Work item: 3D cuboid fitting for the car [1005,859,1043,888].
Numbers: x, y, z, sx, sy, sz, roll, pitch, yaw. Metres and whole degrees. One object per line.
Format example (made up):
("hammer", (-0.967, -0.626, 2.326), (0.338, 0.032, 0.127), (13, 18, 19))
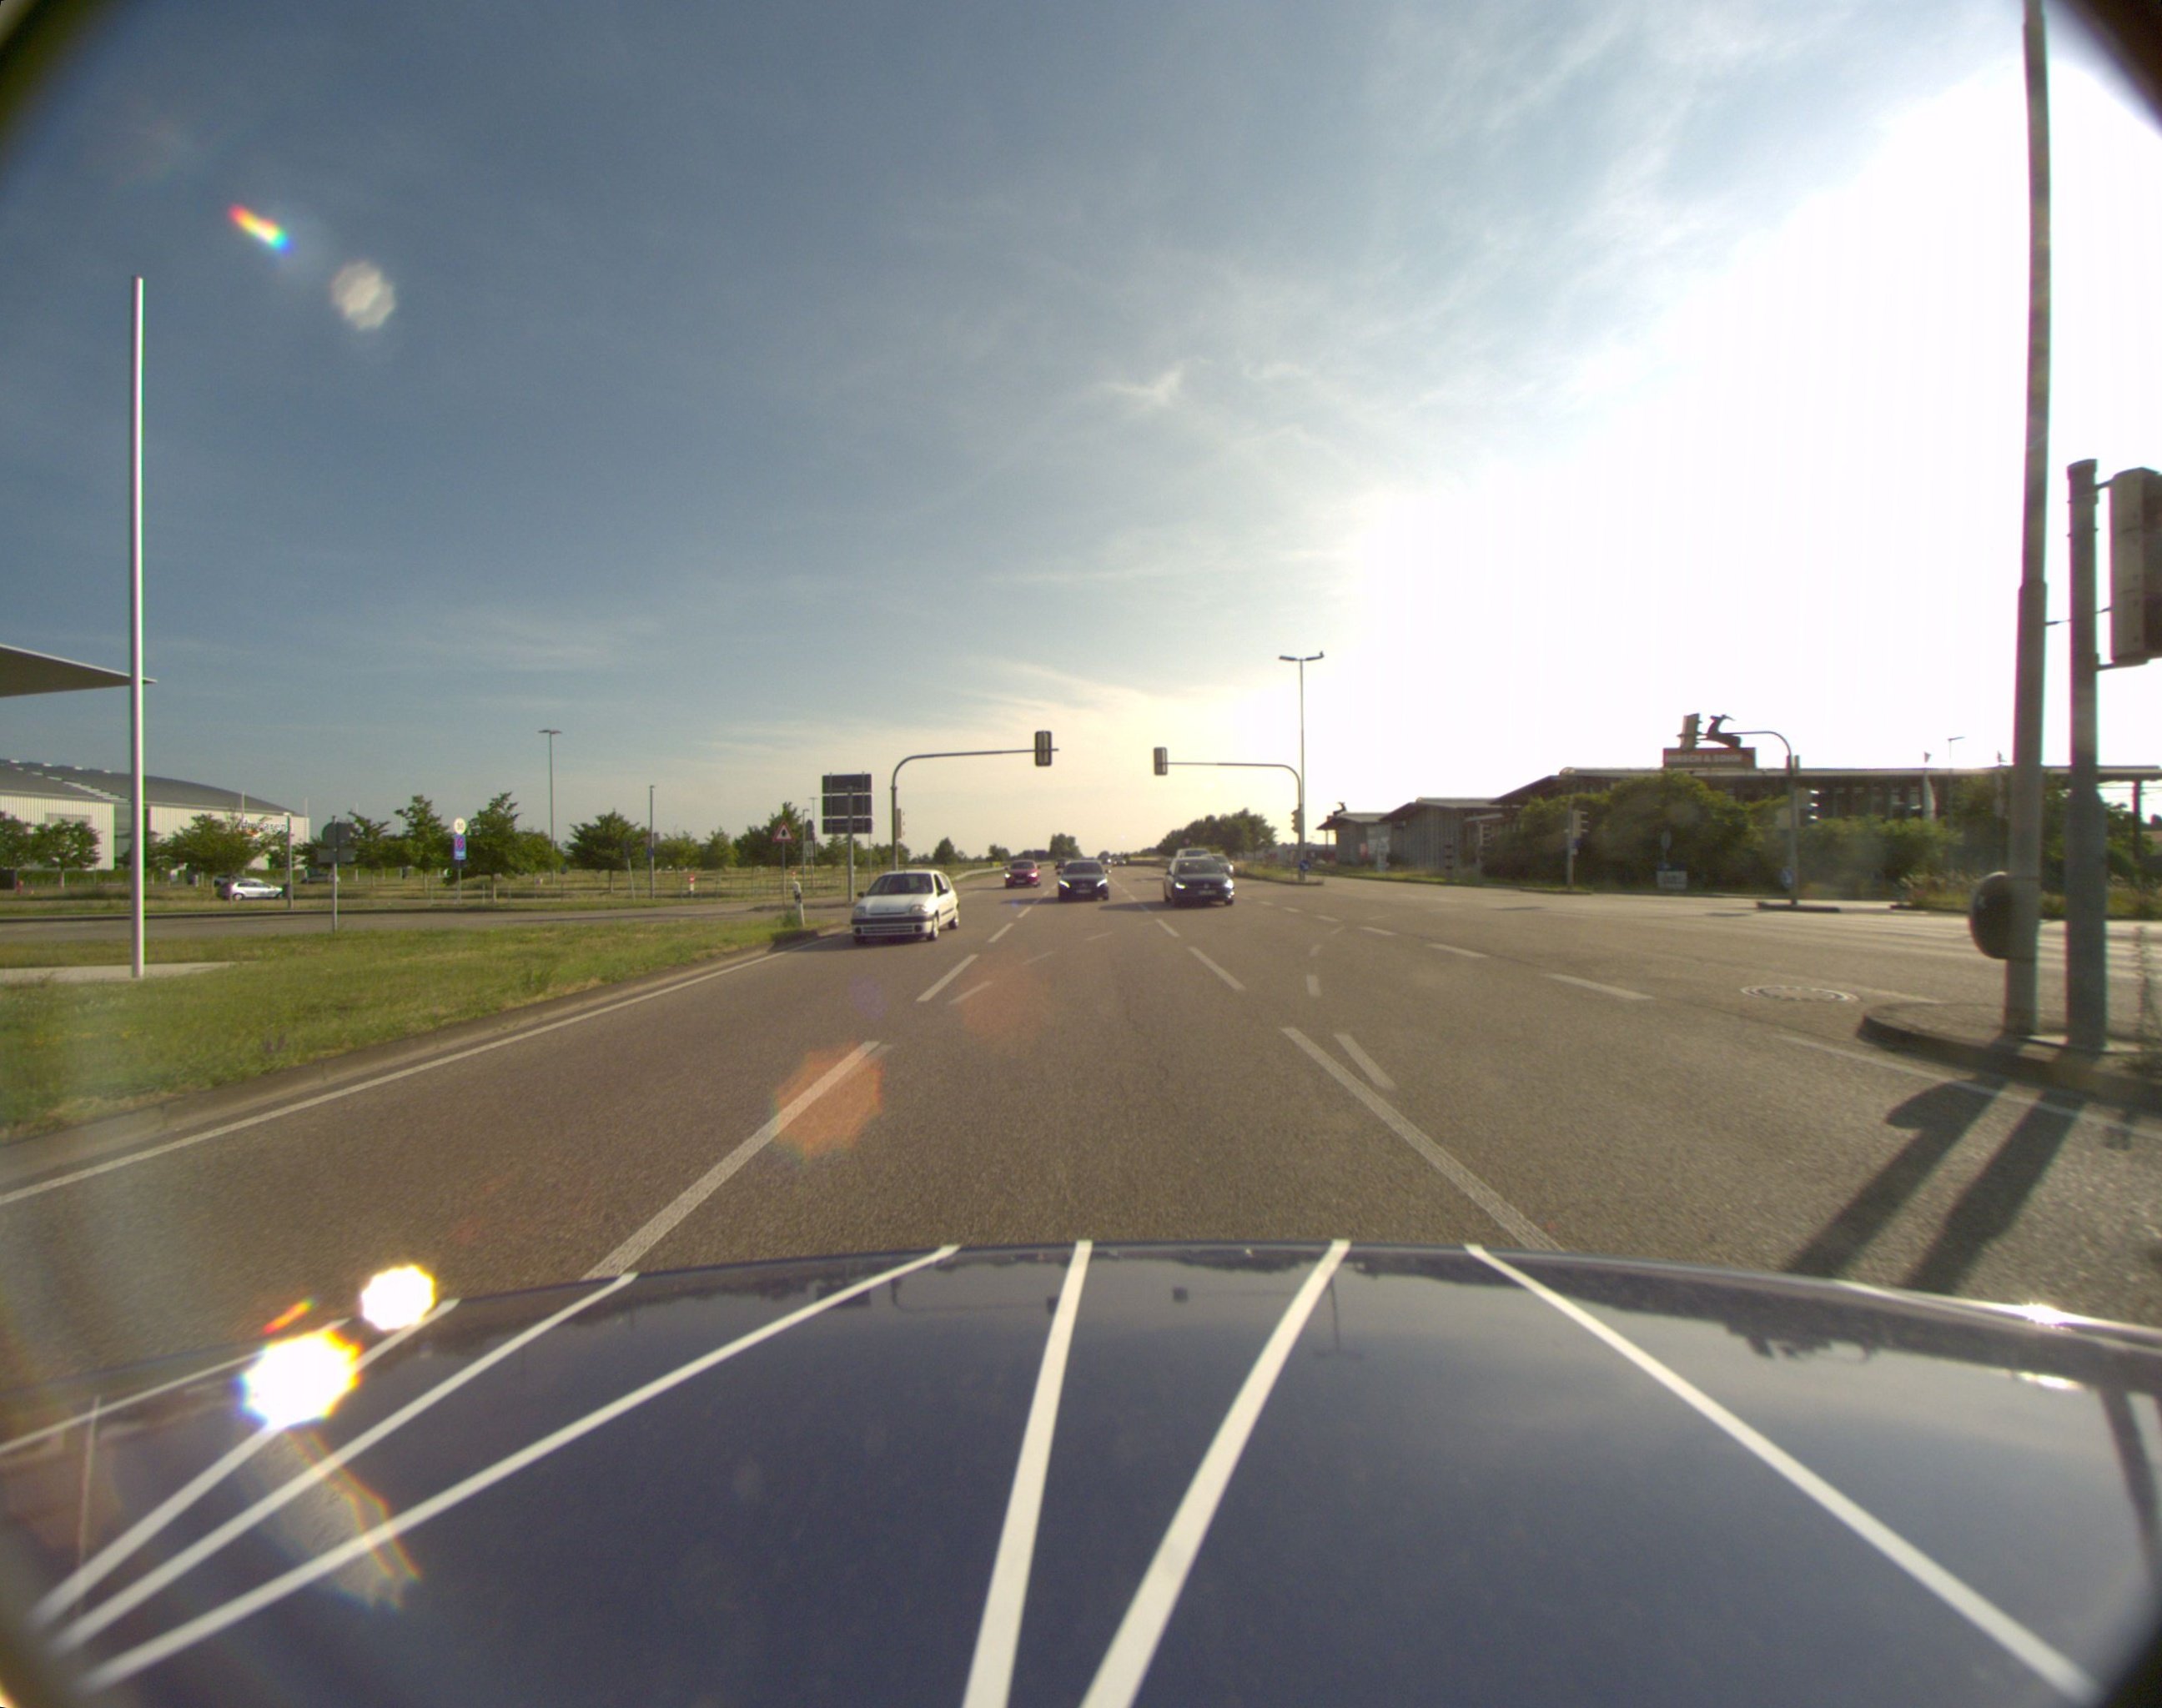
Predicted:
("car", (-3.126, 1.030, 42.410), (1.751, 1.512, 3.739), (-1, 0, 1))

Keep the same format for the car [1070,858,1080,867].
("car", (-1.108, 1.565, 139.045), (1.751, 1.512, 3.739), (-1, 0, 1))

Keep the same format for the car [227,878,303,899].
("car", (-62.547, 2.631, 58.293), (1.709, 1.446, 3.568), (-1, 0, 12))

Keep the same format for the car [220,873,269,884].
("car", (-102.939, 3.002, 93.550), (4.209, 1.272, 1.486), (-1, 0, -3))

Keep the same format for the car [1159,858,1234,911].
("car", (3.528, 0.873, 23.960), (1.650, 1.462, 4.776), (-1, 0, 1))

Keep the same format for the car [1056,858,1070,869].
("car", (-2.419, 1.275, 103.627), (1.751, 1.512, 3.739), (-1, 0, 1))

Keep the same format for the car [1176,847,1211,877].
("car", (7.293, 0.529, 49.608), (1.650, 1.823, 4.226), (-1, 0, 1))

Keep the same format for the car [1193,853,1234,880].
("car", (7.524, 0.706, 43.349), (1.711, 1.428, 3.565), (-1, 0, 1))

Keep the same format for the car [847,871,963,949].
("car", (-3.579, 1.099, 16.026), (1.578, 1.370, 3.452), (-1, 0, 1))

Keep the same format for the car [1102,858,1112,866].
("car", (5.056, 1.550, 148.547), (1.751, 1.512, 3.739), (-1, 0, -1))

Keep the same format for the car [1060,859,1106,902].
("car", (0.118, 0.943, 28.848), (1.576, 1.462, 5.022), (-1, 0, 1))
